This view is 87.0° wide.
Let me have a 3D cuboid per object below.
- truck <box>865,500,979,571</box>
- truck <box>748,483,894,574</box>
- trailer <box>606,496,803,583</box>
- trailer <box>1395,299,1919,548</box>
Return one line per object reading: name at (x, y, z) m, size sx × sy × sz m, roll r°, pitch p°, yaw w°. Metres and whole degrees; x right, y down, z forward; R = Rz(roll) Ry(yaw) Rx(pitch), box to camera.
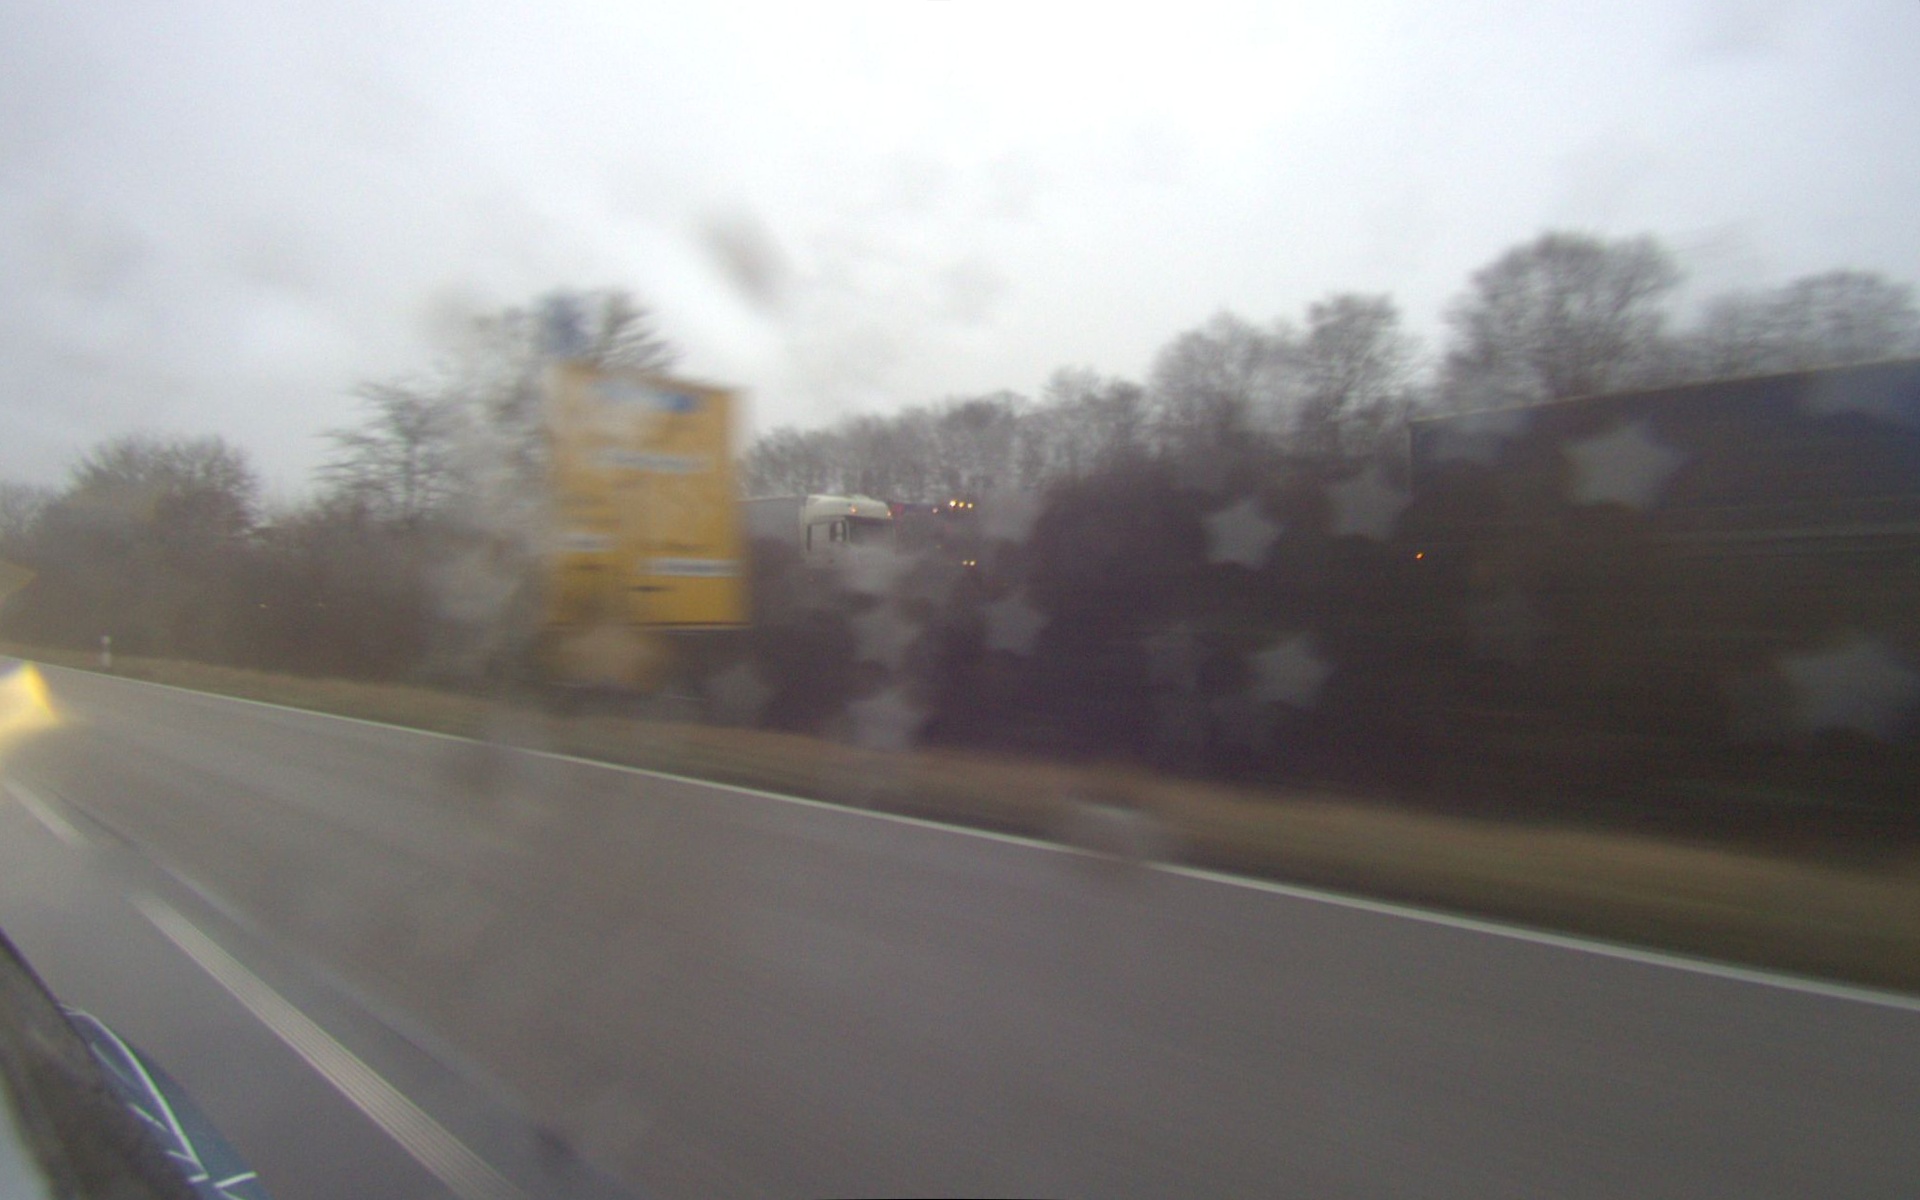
truck at (-1.577, -2.514, 40.859) m, size 3.999 × 2.454 × 2.503 m, roll -2°, pitch -2°, yaw 42°
truck at (-5.351, -2.590, 38.345) m, size 5.581 × 2.909 × 2.424 m, roll -2°, pitch -2°, yaw 41°
trailer at (-11.277, -2.396, 43.599) m, size 11.080 × 2.913 × 2.410 m, roll -2°, pitch -2°, yaw 41°
trailer at (15.260, -3.282, 20.581) m, size 11.380 × 3.661 × 2.967 m, roll -2°, pitch -2°, yaw 41°
